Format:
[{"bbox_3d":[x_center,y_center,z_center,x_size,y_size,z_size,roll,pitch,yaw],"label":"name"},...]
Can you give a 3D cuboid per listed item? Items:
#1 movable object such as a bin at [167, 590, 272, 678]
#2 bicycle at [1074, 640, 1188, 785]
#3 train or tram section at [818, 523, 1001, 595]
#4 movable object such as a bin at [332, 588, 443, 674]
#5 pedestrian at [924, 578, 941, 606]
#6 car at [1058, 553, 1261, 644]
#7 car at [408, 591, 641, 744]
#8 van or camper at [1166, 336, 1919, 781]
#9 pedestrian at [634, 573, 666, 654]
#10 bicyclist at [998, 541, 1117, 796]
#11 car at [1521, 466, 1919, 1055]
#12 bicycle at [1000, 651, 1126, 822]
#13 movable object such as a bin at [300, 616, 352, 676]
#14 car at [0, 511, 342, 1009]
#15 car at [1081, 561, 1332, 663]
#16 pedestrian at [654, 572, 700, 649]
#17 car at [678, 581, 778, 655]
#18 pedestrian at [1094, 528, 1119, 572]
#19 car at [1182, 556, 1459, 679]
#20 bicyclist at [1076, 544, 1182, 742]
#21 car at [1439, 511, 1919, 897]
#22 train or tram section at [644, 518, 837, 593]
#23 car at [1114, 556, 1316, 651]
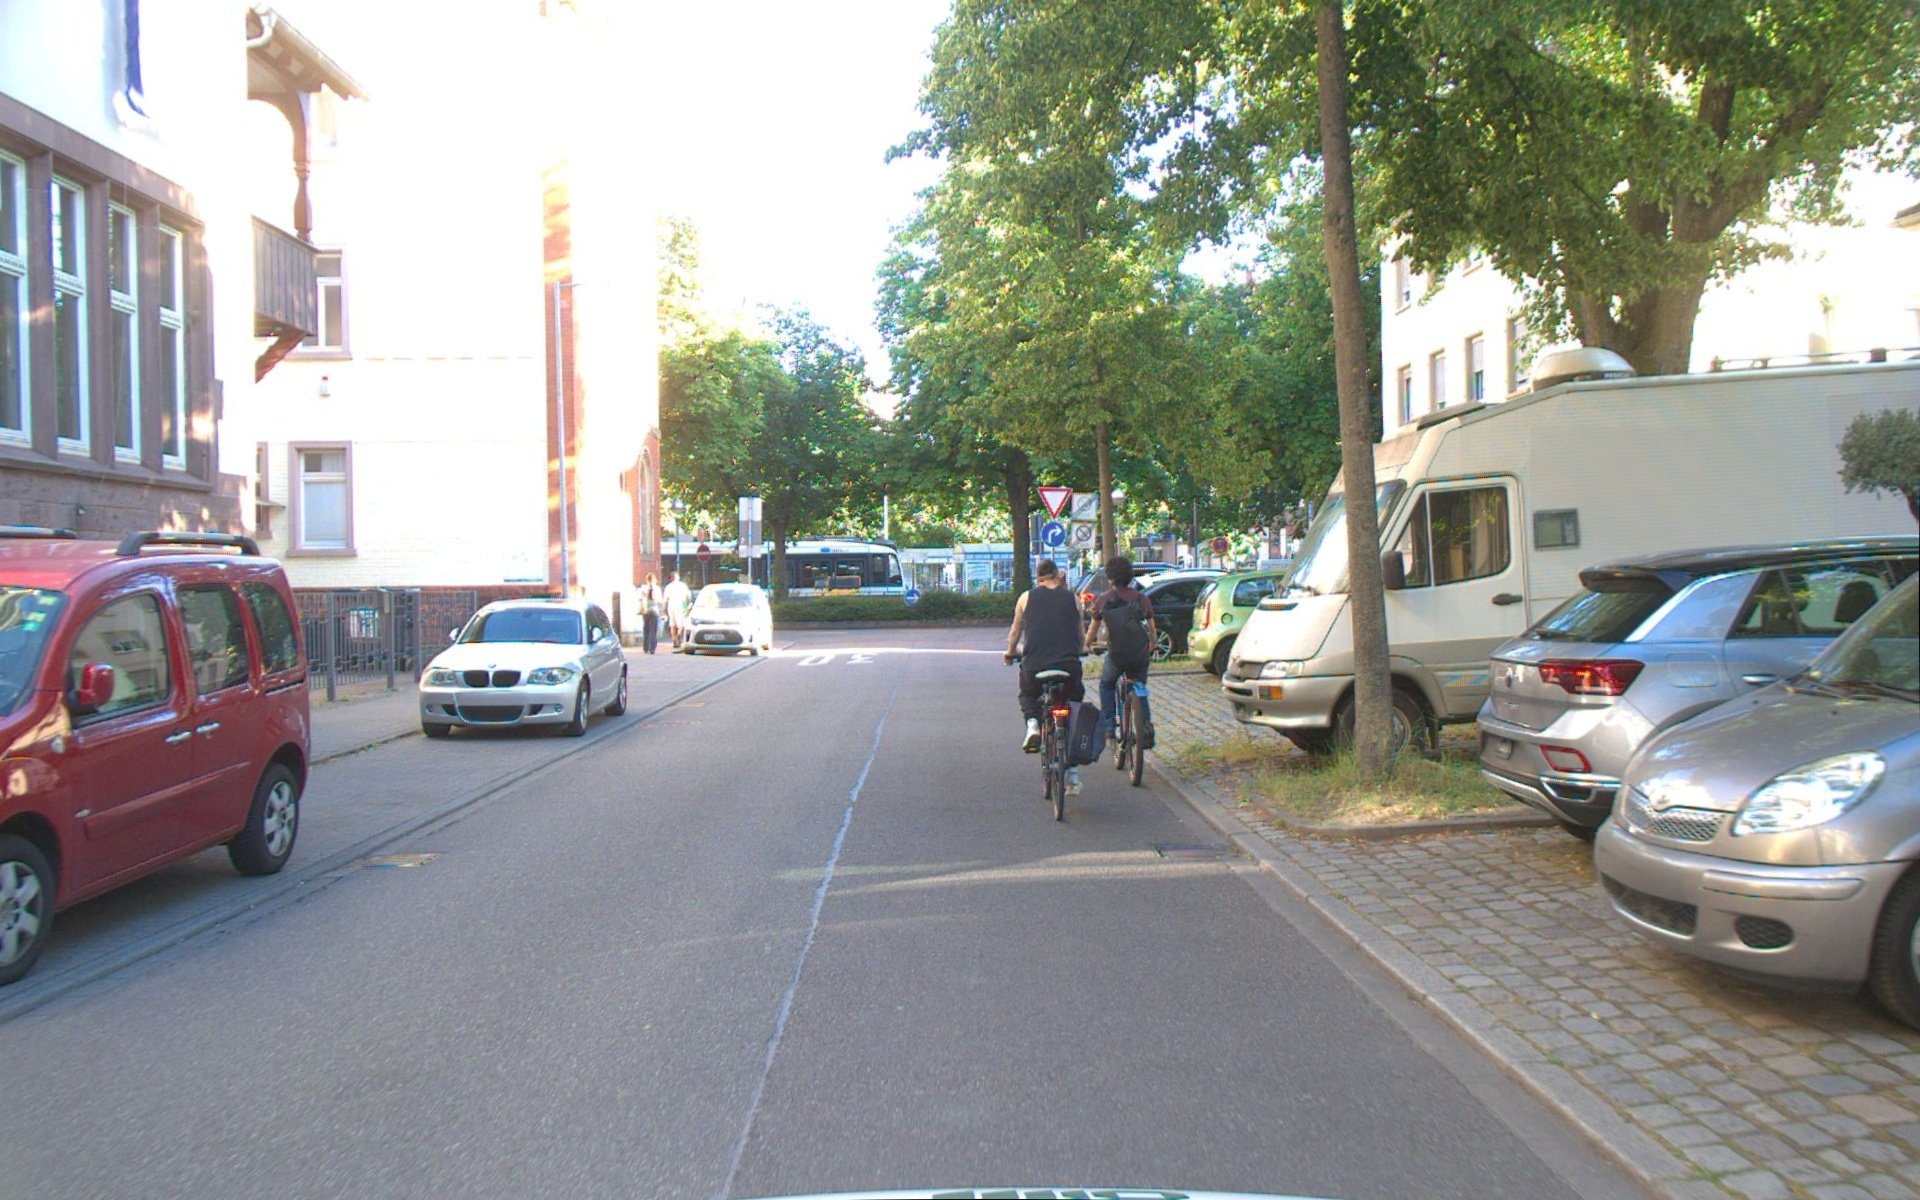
[{"bbox_3d":[-11.726,0.524,26.207,1.354,1.340,0.686,-1,0,-8],"label":"movable object such as a bin"},{"bbox_3d":[1.382,0.884,13.709,0.660,1.072,2.060,-1,-1,-1],"label":"bicycle"},{"bbox_3d":[-2.393,-1.902,78.837,8.305,3.257,2.841,1,0,-24],"label":"train or tram section"},{"bbox_3d":[-9.041,0.479,26.150,1.346,1.321,0.969,-1,1,9],"label":"movable object such as a bin"},{"bbox_3d":[-1.557,-0.437,92.851,0.795,1.570,0.818,1,0,-12],"label":"pedestrian"},{"bbox_3d":[4.307,-0.070,36.066,4.026,1.742,2.022,-3,1,-5],"label":"car"},{"bbox_3d":[-4.794,0.670,18.767,1.709,1.492,4.101,-1,1,-3],"label":"car"},{"bbox_3d":[5.363,-0.364,13.424,6.936,3.131,2.463,-2,0,-4],"label":"van or camper"},{"bbox_3d":[-6.445,0.272,34.368,0.589,1.633,0.852,-2,0,-11],"label":"pedestrian"},{"bbox_3d":[0.672,0.461,11.698,0.737,1.711,0.913,-1,0,-1],"label":"bicyclist"},{"bbox_3d":[4.296,0.380,6.002,3.836,1.774,1.729,-4,0,-1],"label":"car"},{"bbox_3d":[0.690,0.911,11.698,0.722,1.030,2.061,1,0,-1],"label":"bicycle"},{"bbox_3d":[-9.857,0.713,25.725,0.470,0.894,0.673,-1,1,9],"label":"movable object such as a bin"},{"bbox_3d":[-4.630,0.601,7.909,1.762,1.940,4.324,0,1,-1],"label":"car"},{"bbox_3d":[4.227,0.192,28.781,4.022,1.436,1.792,-4,1,-1],"label":"car"},{"bbox_3d":[-6.344,0.227,37.123,0.849,1.671,0.860,-1,0,-1],"label":"pedestrian"},{"bbox_3d":[-5.043,0.360,36.400,1.670,1.511,3.797,1,1,-1],"label":"car"},{"bbox_3d":[5.849,-1.975,65.815,0.896,1.713,0.781,-1,1,9],"label":"pedestrian"},{"bbox_3d":[5.050,0.221,23.496,3.516,1.531,1.677,-2,1,-1],"label":"car"},{"bbox_3d":[1.373,0.338,13.570,0.658,1.541,1.068,-1,-1,-4],"label":"bicyclist"},{"bbox_3d":[4.681,0.389,8.399,3.881,1.626,1.903,-4,0,1],"label":"car"},{"bbox_3d":[-9.999,-1.972,75.456,8.305,3.233,2.841,1,0,-24],"label":"train or tram section"},{"bbox_3d":[4.813,0.060,31.554,3.616,1.679,1.705,-1,1,2],"label":"car"}]
